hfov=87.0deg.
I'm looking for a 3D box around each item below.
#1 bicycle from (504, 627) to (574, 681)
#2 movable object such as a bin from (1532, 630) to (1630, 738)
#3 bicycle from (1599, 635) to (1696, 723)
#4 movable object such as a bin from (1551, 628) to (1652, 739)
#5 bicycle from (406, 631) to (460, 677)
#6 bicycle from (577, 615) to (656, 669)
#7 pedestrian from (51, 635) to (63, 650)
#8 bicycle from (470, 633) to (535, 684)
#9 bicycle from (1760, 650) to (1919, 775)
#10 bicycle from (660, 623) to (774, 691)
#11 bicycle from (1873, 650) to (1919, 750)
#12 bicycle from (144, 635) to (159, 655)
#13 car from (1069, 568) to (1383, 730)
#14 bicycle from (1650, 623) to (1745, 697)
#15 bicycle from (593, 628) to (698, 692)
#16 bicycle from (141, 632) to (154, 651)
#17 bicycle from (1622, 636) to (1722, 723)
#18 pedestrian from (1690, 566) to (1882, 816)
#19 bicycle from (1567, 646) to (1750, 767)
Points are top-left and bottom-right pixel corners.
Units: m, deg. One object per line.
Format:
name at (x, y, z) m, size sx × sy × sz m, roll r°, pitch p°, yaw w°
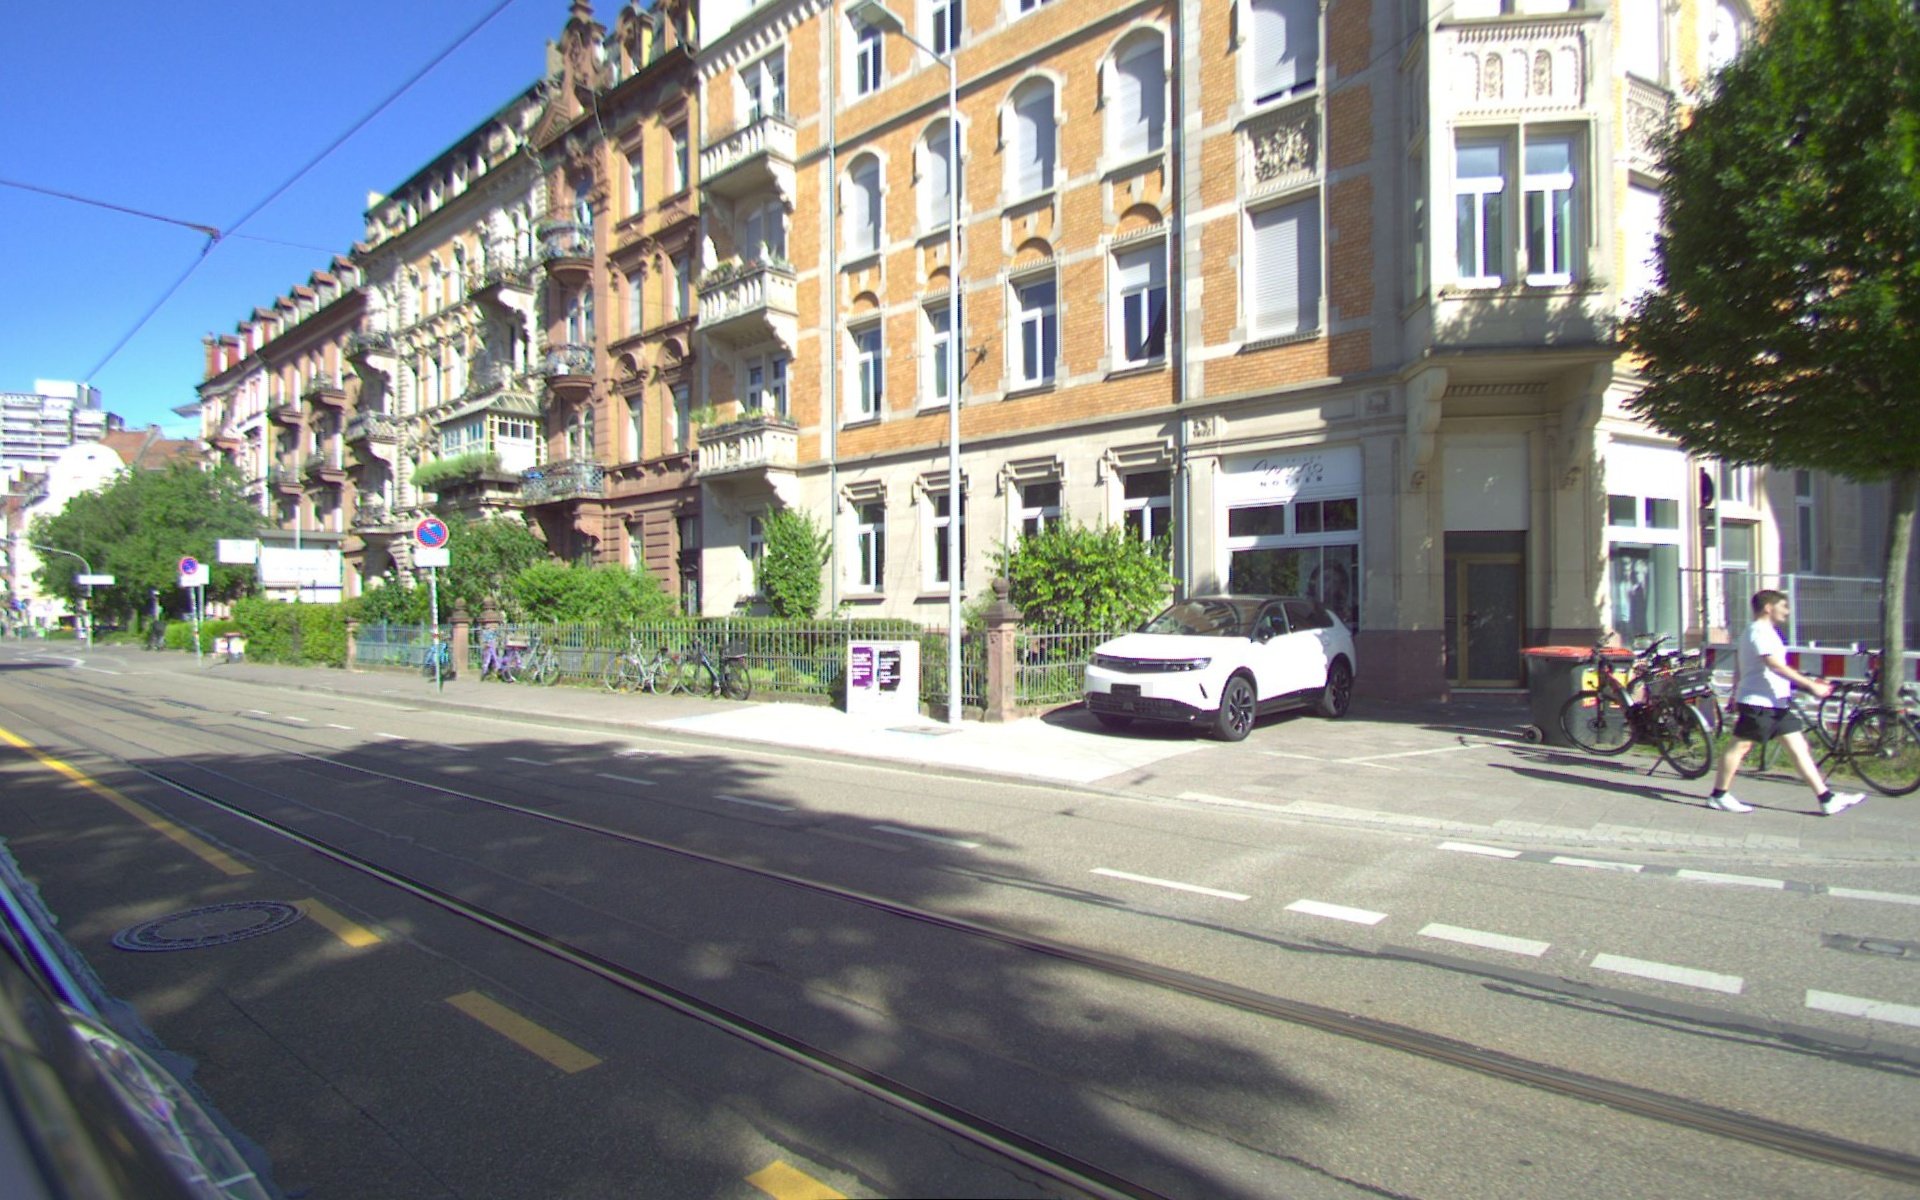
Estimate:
bicycle at (-8.692, 1.097, 20.852) m, size 1.766 × 1.041 × 0.557 m, roll -2°, pitch 1°, yaw 41°
movable object such as a bin at (6.713, 0.883, 10.952) m, size 0.568 × 1.079 × 0.718 m, roll -2°, pitch 1°, yaw -36°
bicycle at (8.342, 0.932, 12.337) m, size 0.244 × 0.921 × 1.540 m, roll 0°, pitch 1°, yaw 5°
movable object such as a bin at (6.754, 0.854, 10.663) m, size 0.568 × 1.079 × 0.718 m, roll -2°, pitch 1°, yaw -36°
bicycle at (-12.949, 1.321, 24.840) m, size 1.767 × 1.041 × 0.557 m, roll -3°, pitch 0°, yaw 42°
bicycle at (-8.415, 1.009, 24.834) m, size 0.564 × 1.163 × 1.744 m, roll -2°, pitch 3°, yaw 40°
pedestrian at (-79.698, 3.731, 89.314) m, size 0.724 × 1.291 × 0.650 m, roll -2°, pitch 1°, yaw 41°
bicycle at (-10.028, 1.256, 22.160) m, size 1.766 × 1.041 × 0.557 m, roll -2°, pitch 1°, yaw 41°
bicycle at (7.707, 0.932, 8.751) m, size 0.613 × 0.921 × 1.293 m, roll 0°, pitch 1°, yaw 5°
bicycle at (-4.113, 0.959, 17.186) m, size 1.745 × 1.041 × 0.564 m, roll -3°, pitch 0°, yaw 5°
bicycle at (9.415, 0.963, 9.376) m, size 0.611 × 0.921 × 1.298 m, roll 0°, pitch 1°, yaw -11°
bicycle at (-39.856, 2.214, 49.878) m, size 0.338 × 0.933 × 1.944 m, roll -2°, pitch 1°, yaw -44°
car at (3.522, 0.471, 12.853) m, size 1.967 × 1.656 × 4.397 m, roll -1°, pitch 1°, yaw 43°
bicycle at (11.413, 0.911, 15.650) m, size 1.576 × 1.045 × 0.407 m, roll -2°, pitch -1°, yaw -24°
bicycle at (-5.700, 1.087, 18.361) m, size 1.752 × 1.041 × 0.562 m, roll -3°, pitch 3°, yaw 17°
bicycle at (-42.674, 2.174, 53.158) m, size 0.338 × 0.933 × 1.944 m, roll -2°, pitch 1°, yaw -44°
bicycle at (8.616, 0.933, 12.294) m, size 0.244 × 0.921 × 1.540 m, roll 0°, pitch 1°, yaw 5°
pedestrian at (6.235, 0.625, 7.700) m, size 1.081 × 1.736 × 0.821 m, roll 0°, pitch 1°, yaw 38°
bicycle at (6.537, 0.956, 9.595) m, size 0.613 × 0.921 × 1.786 m, roll 0°, pitch 1°, yaw 5°
